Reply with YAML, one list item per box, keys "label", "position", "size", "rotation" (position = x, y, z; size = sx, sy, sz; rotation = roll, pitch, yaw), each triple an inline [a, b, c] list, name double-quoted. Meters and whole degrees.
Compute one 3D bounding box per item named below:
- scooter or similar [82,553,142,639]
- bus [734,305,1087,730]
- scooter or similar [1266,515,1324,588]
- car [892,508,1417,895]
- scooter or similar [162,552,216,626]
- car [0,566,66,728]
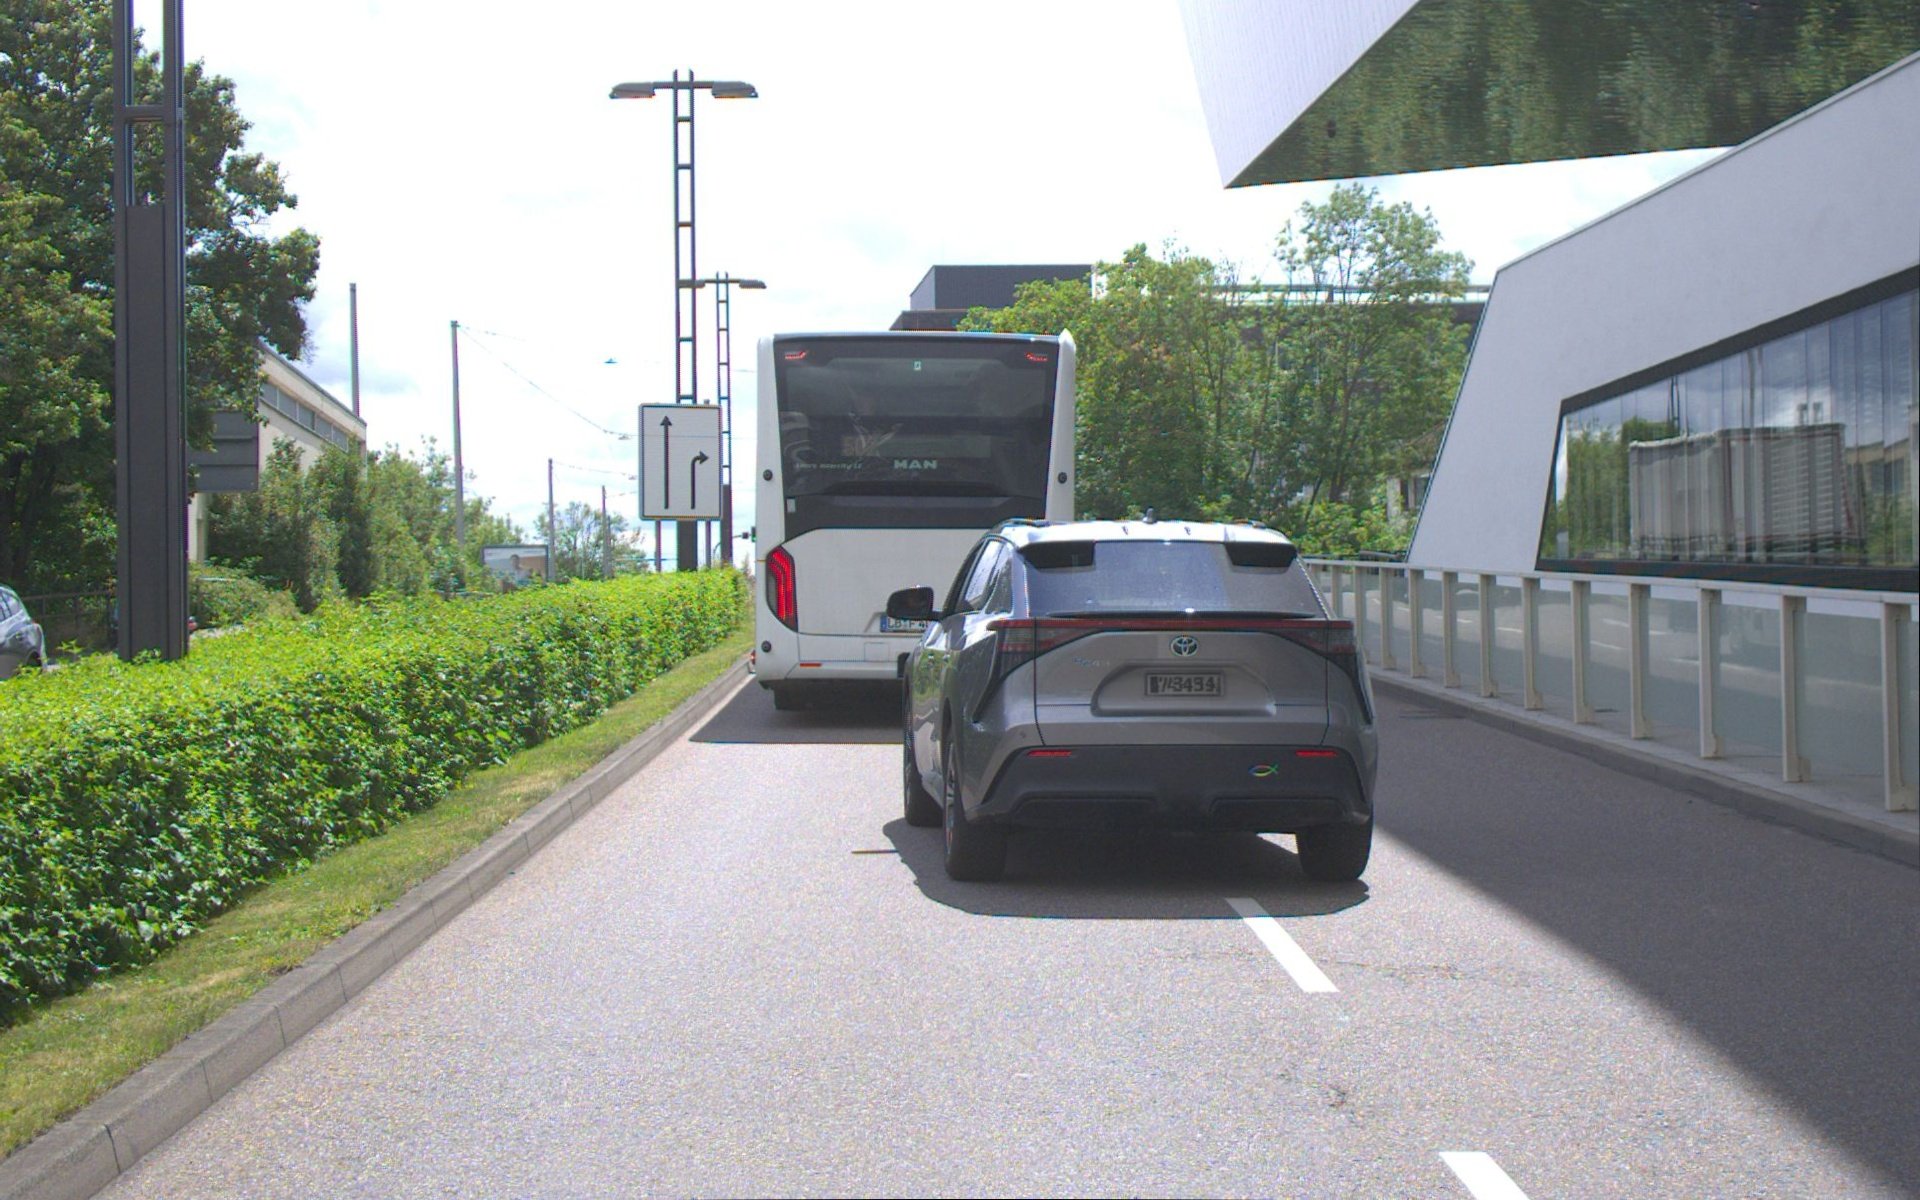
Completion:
- label: "scooter or similar"
  position: [-13.091, -0.072, 53.101]
  size: [0.491, 1.300, 1.643]
  rotation: [1, 1, 1]
- label: "bus"
  position: [-0.421, -0.820, 32.571]
  size: [2.689, 3.244, 12.058]
  rotation: [1, 2, 0]
- label: "scooter or similar"
  position: [5.729, -0.830, 58.886]
  size: [0.653, 1.210, 1.858]
  rotation: [-2, 1, -4]
- label: "car"
  position: [0.766, 0.400, 16.289]
  size: [1.879, 1.588, 4.230]
  rotation: [0, 1, -5]
- label: "scooter or similar"
  position: [-13.152, -0.196, 58.662]
  size: [0.491, 1.212, 1.643]
  rotation: [-1, 1, 1]
- label: "car"
  position: [-10.015, 0.480, 32.492]
  size: [1.840, 1.502, 4.561]
  rotation: [-1, 1, 1]
